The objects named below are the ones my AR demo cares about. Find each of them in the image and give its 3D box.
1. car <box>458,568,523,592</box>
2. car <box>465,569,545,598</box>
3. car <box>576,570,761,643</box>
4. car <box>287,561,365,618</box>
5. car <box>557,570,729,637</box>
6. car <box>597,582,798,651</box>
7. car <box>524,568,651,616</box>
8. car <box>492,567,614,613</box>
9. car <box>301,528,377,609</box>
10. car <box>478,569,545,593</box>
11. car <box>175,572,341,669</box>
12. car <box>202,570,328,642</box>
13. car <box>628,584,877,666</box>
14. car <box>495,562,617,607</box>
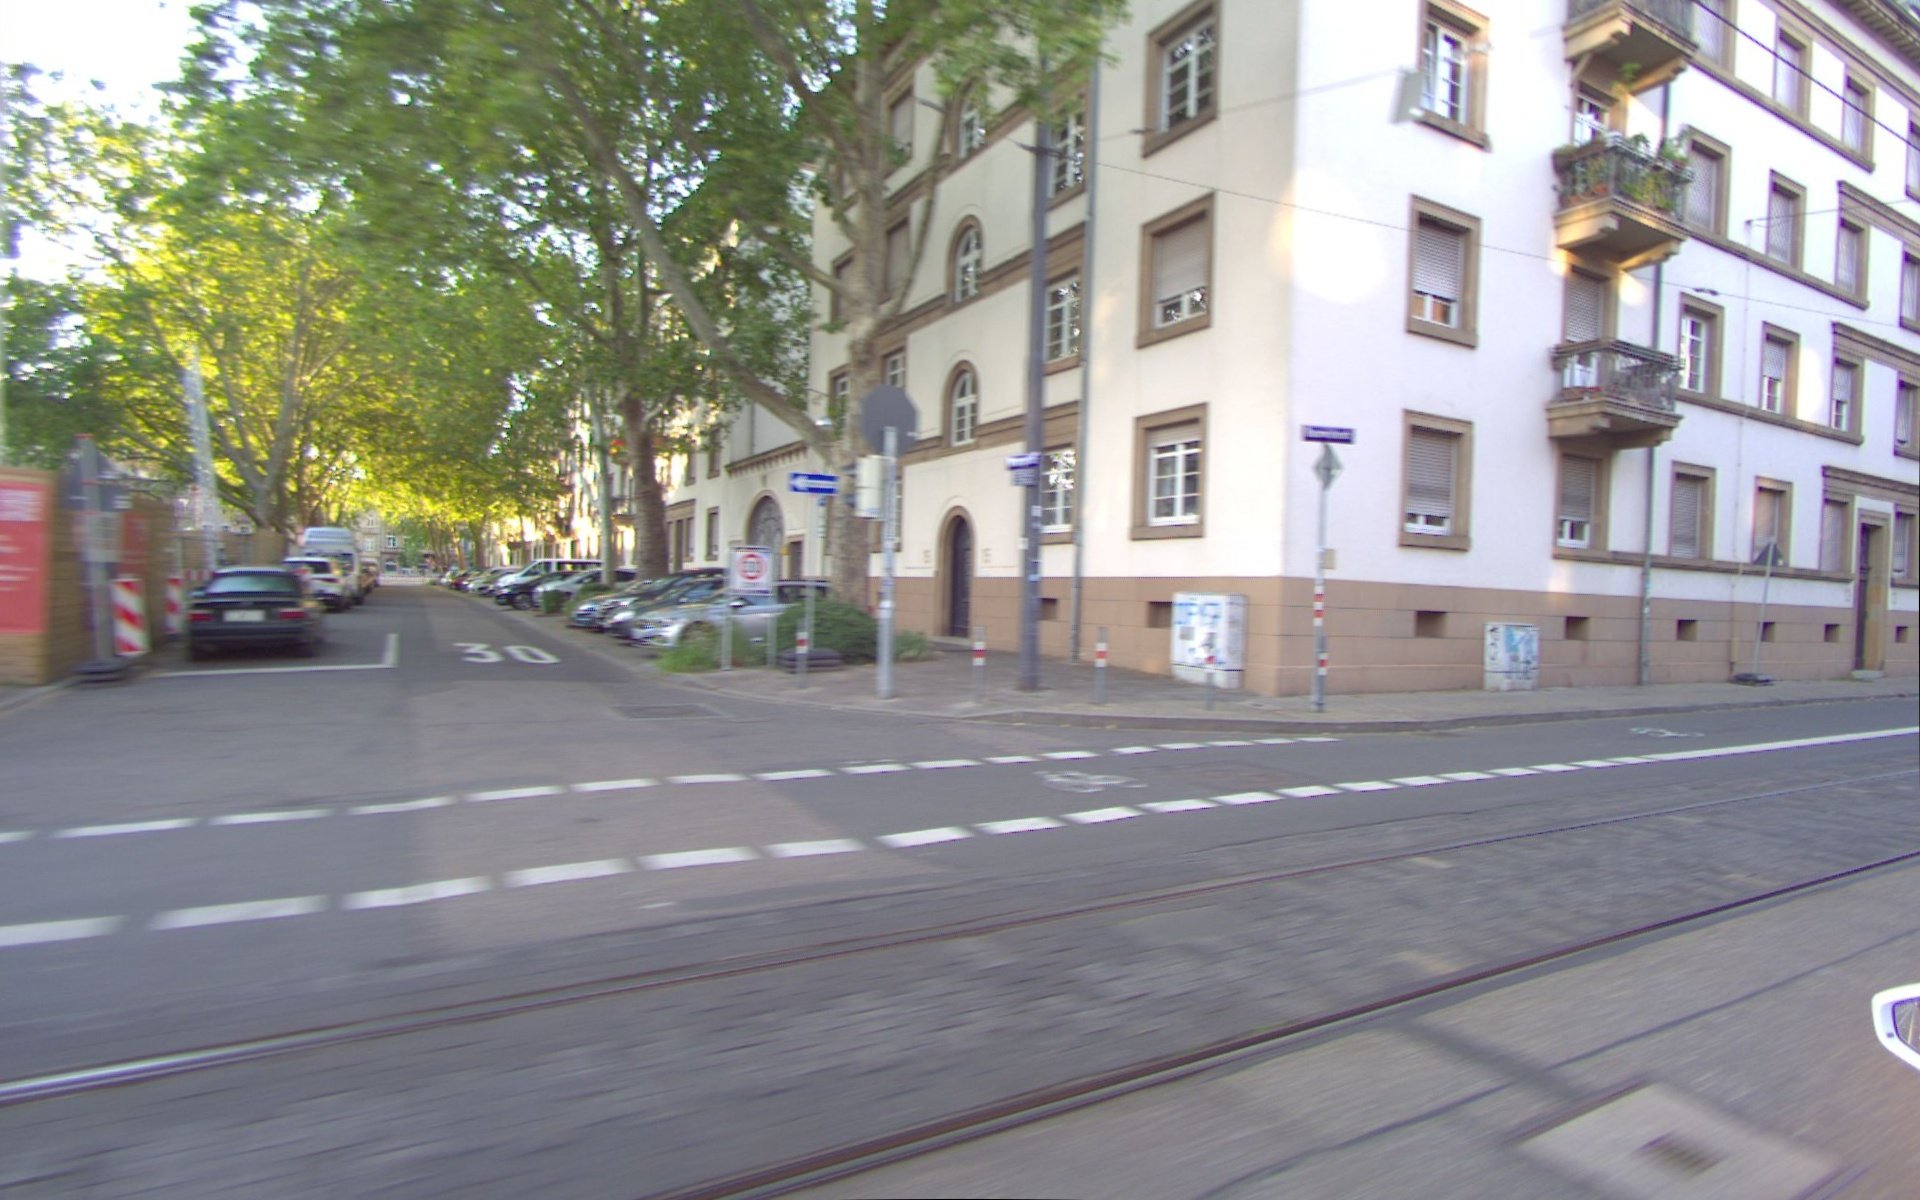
[{"bbox_3d":[-33.098,-1.399,70.819,4.043,1.636,1.745,-1,2,-29],"label":"car"},{"bbox_3d":[-26.196,-0.974,57.821,4.043,1.636,1.745,-1,2,-29],"label":"car"},{"bbox_3d":[-7.069,0.095,24.463,4.043,1.636,1.745,-1,2,-29],"label":"car"},{"bbox_3d":[-19.737,-0.384,31.412,1.737,1.648,4.062,-1,2,-28],"label":"car"},{"bbox_3d":[-8.275,0.039,26.274,4.043,1.636,1.745,-1,2,-29],"label":"car"},{"bbox_3d":[-5.819,0.298,22.382,4.043,1.378,1.745,-1,2,-29],"label":"car"},{"bbox_3d":[-13.306,-0.324,35.888,4.043,1.636,1.745,-1,2,-29],"label":"car"},{"bbox_3d":[-15.282,-0.409,37.747,4.043,1.636,1.745,-1,2,-29],"label":"car"},{"bbox_3d":[-22.828,-1.153,37.092,2.000,2.759,4.983,-1,2,-28],"label":"car"},{"bbox_3d":[-30.891,-1.314,69.197,4.043,1.636,1.745,-1,2,-29],"label":"car"},{"bbox_3d":[-11.455,0.231,16.656,1.737,1.378,4.062,-1,2,-28],"label":"car"},{"bbox_3d":[-14.788,0.054,21.574,1.737,1.378,4.062,-1,2,-28],"label":"car"},{"bbox_3d":[-3.956,0.402,19.367,4.420,1.378,1.745,-1,2,-29],"label":"car"},{"bbox_3d":[-18.001,-0.707,44.828,4.865,1.904,1.745,-1,2,-30],"label":"car"}]
